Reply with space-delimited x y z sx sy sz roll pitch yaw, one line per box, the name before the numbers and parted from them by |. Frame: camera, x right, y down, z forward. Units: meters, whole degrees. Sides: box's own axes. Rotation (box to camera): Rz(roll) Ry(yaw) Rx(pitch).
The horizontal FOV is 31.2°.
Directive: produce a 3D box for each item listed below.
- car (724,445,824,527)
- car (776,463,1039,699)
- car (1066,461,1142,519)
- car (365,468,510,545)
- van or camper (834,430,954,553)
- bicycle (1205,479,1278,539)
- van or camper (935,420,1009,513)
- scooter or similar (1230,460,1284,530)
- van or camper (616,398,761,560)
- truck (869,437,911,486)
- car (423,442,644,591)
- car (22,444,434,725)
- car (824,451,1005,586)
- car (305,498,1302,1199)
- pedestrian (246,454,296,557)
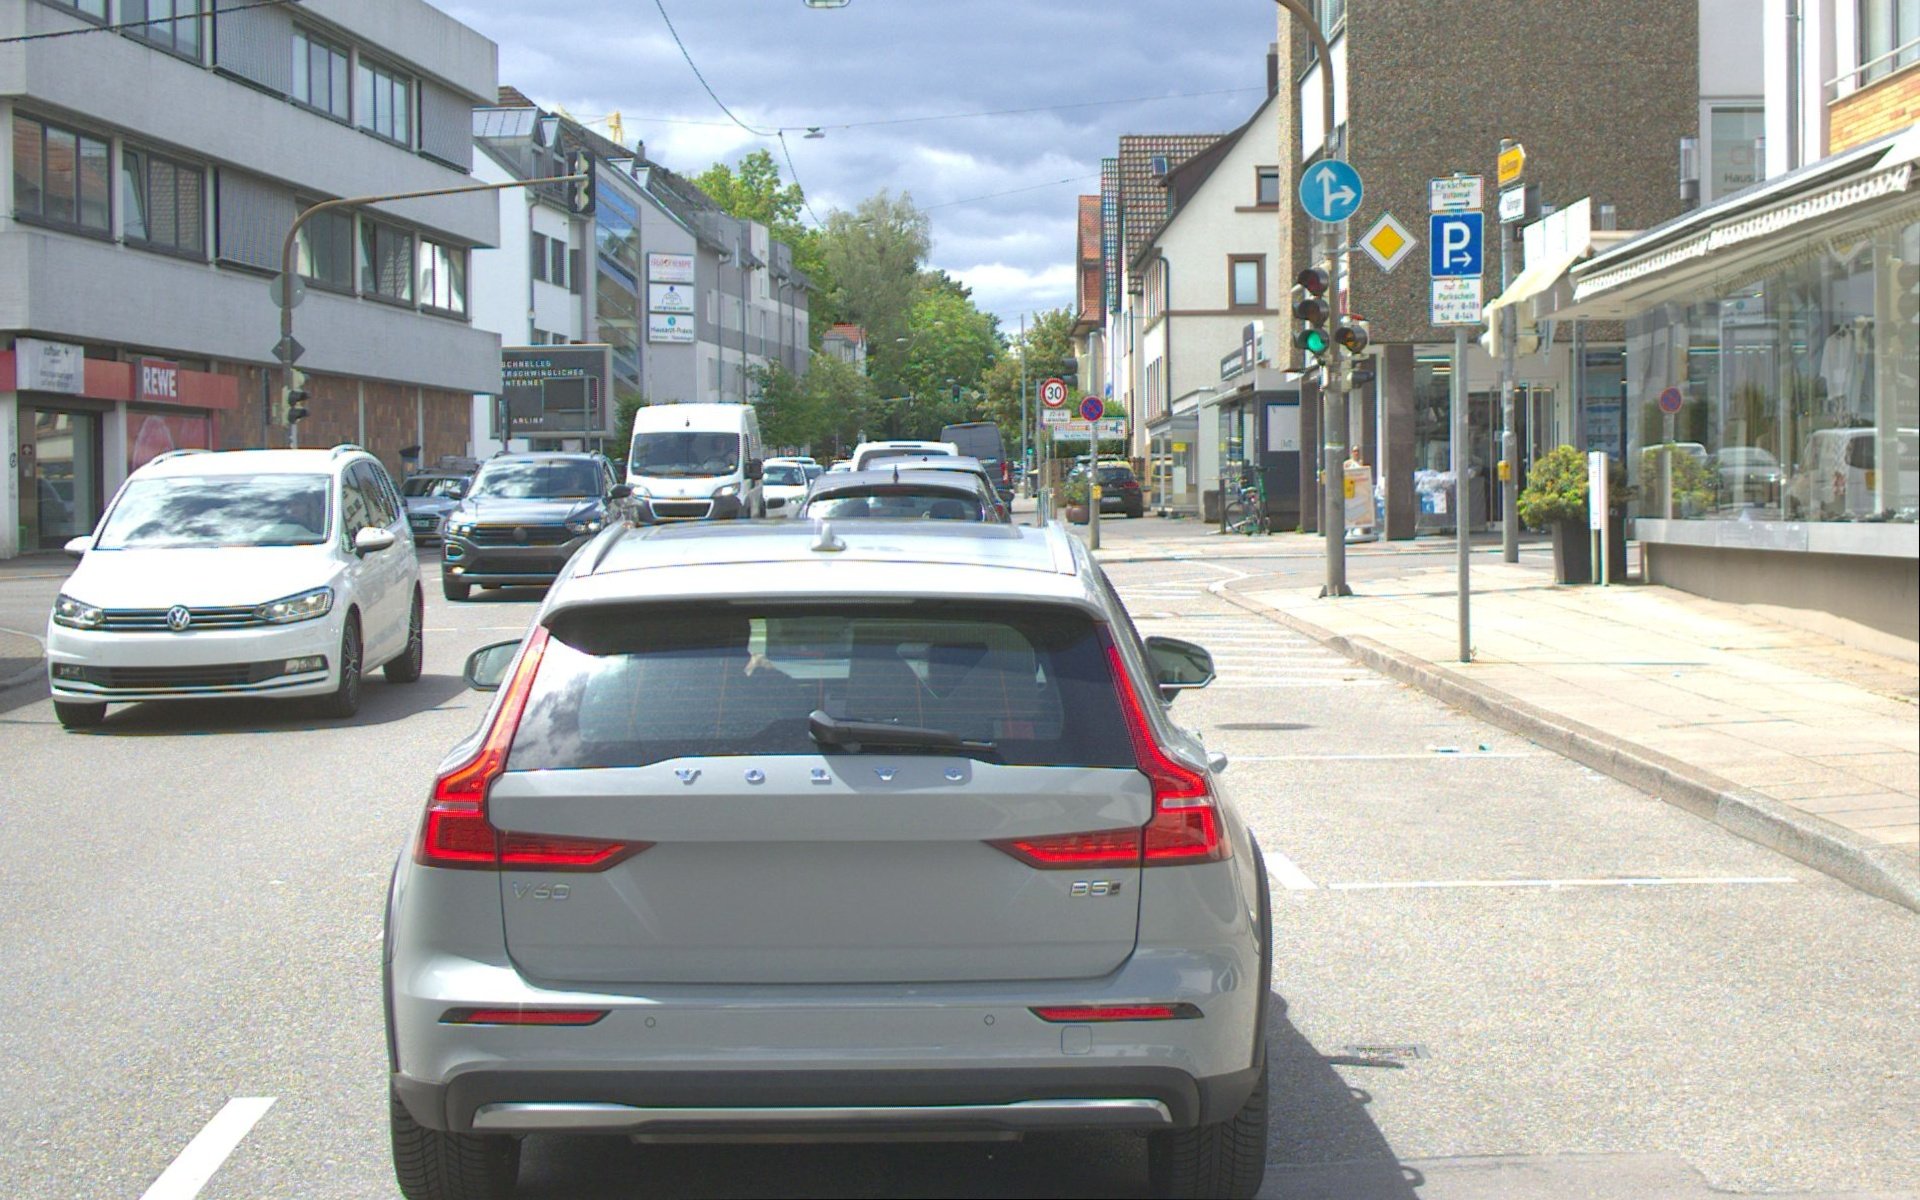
car | -3.943 -2.445 73.357 1.780 1.634 4.221 -2 2 1
car | -0.346 -0.174 23.412 1.650 1.477 3.608 0 2 -1
car | 3.816 -2.924 91.603 1.710 1.459 4.000 0 1 -2
car | -10.312 -1.885 68.170 1.904 1.438 4.443 1 2 4
van or camper | -1.019 -1.685 54.430 1.819 1.828 4.000 0 0 0
bicycle | 5.443 -1.773 66.596 0.554 1.140 2.301 -2 2 -18
van or camper | 0.374 -4.015 103.155 2.123 2.677 4.781 -1 2 1
scooter or similar | 5.476 -1.936 63.442 0.340 1.249 1.246 -4 2 -26
van or camper | -4.515 -2.085 57.950 2.148 2.547 5.439 -1 3 -2
truck | -4.267 -8.496 211.050 2.276 2.876 7.080 -1 2 1
car | -4.529 -0.876 37.038 1.791 1.506 3.845 0 1 2
car | -4.587 -0.181 22.131 1.775 1.607 4.120 0 3 0
car | -0.469 -0.848 36.547 1.807 1.342 3.718 0 1 0
car | -0.308 0.517 8.356 1.836 1.481 4.000 0 1 -1
pedestrian | -11.103 -1.533 55.436 0.619 1.635 0.660 -1 2 1
